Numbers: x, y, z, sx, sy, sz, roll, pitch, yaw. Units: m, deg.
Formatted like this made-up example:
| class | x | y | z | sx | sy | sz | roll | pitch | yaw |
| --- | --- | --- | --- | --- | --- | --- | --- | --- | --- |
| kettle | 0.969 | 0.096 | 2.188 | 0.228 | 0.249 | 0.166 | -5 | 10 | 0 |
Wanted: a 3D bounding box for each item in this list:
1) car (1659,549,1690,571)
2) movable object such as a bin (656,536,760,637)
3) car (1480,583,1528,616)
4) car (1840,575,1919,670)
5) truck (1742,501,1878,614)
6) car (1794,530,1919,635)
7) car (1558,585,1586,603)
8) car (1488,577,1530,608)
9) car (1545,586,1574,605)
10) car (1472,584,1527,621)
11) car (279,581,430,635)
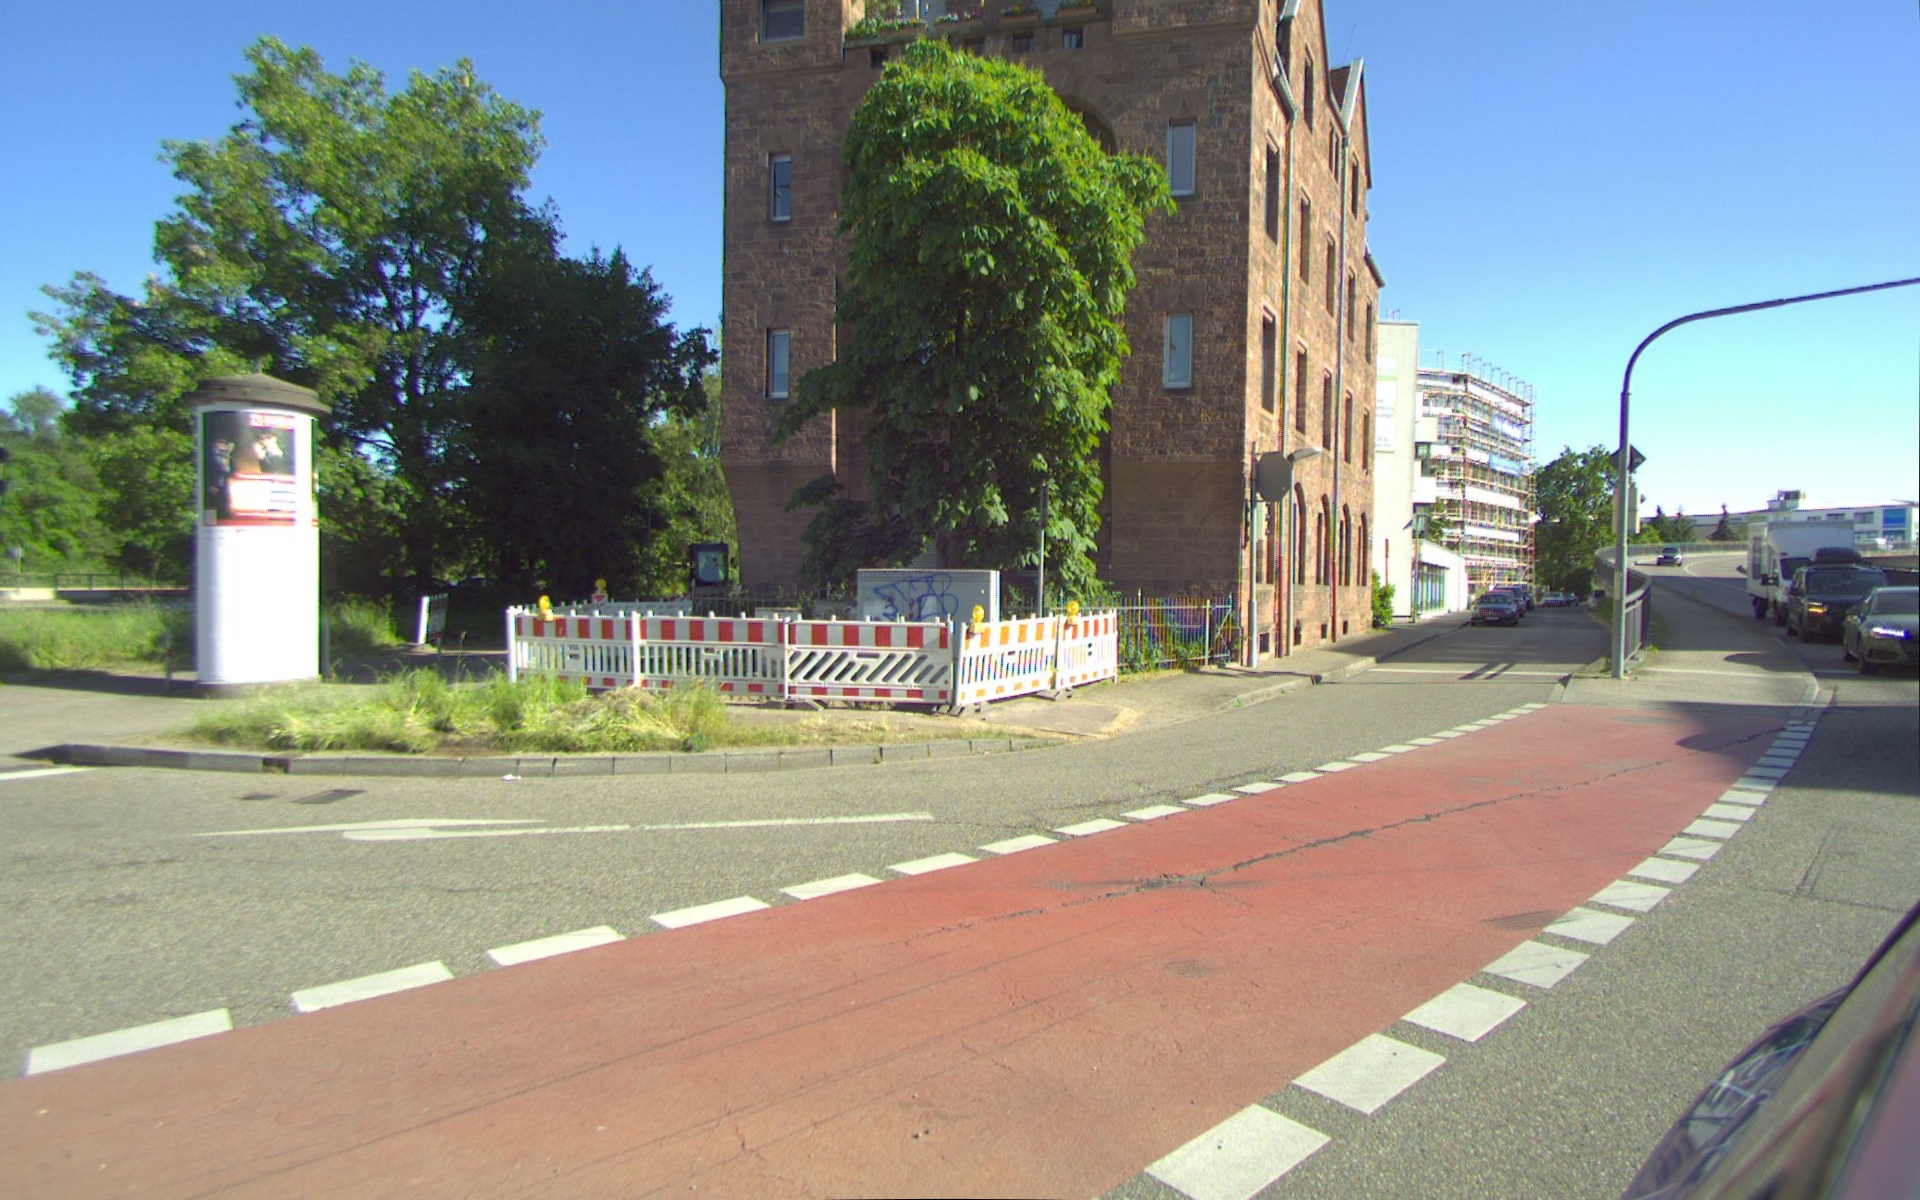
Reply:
| class | x | y | z | sx | sy | sz | roll | pitch | yaw |
| --- | --- | --- | --- | --- | --- | --- | --- | --- | --- |
| car | 62.988 | -3.476 | 89.178 | 1.750 | 1.781 | 4.714 | 2 | 1 | 41 |
| movable object such as a bin | -6.570 | -0.356 | 26.821 | 1.960 | 2.439 | 4.003 | 1 | 1 | -4 |
| car | 27.538 | -0.036 | 51.180 | 2.037 | 1.551 | 4.050 | 1 | 1 | 30 |
| car | 16.690 | 0.340 | 17.373 | 1.868 | 1.489 | 4.578 | 2 | 2 | 35 |
| truck | 26.606 | -1.249 | 31.960 | 2.487 | 3.167 | 6.875 | 1 | 1 | 34 |
| car | 21.595 | -0.411 | 24.370 | 1.940 | 2.290 | 4.724 | 2 | 1 | 35 |
| car | 63.663 | -0.605 | 105.260 | 1.750 | 1.781 | 4.116 | 2 | 1 | 41 |
| car | 31.406 | -0.425 | 57.804 | 2.037 | 1.707 | 4.050 | 1 | 1 | 30 |
| car | 59.819 | -0.453 | 101.005 | 1.750 | 1.781 | 4.141 | 2 | 1 | 41 |
| car | 24.173 | 0.099 | 45.277 | 2.037 | 1.551 | 4.049 | 1 | 1 | 30 |
| car | -19.305 | 0.238 | 32.378 | 1.992 | 1.581 | 3.725 | 2 | 1 | 41 |
